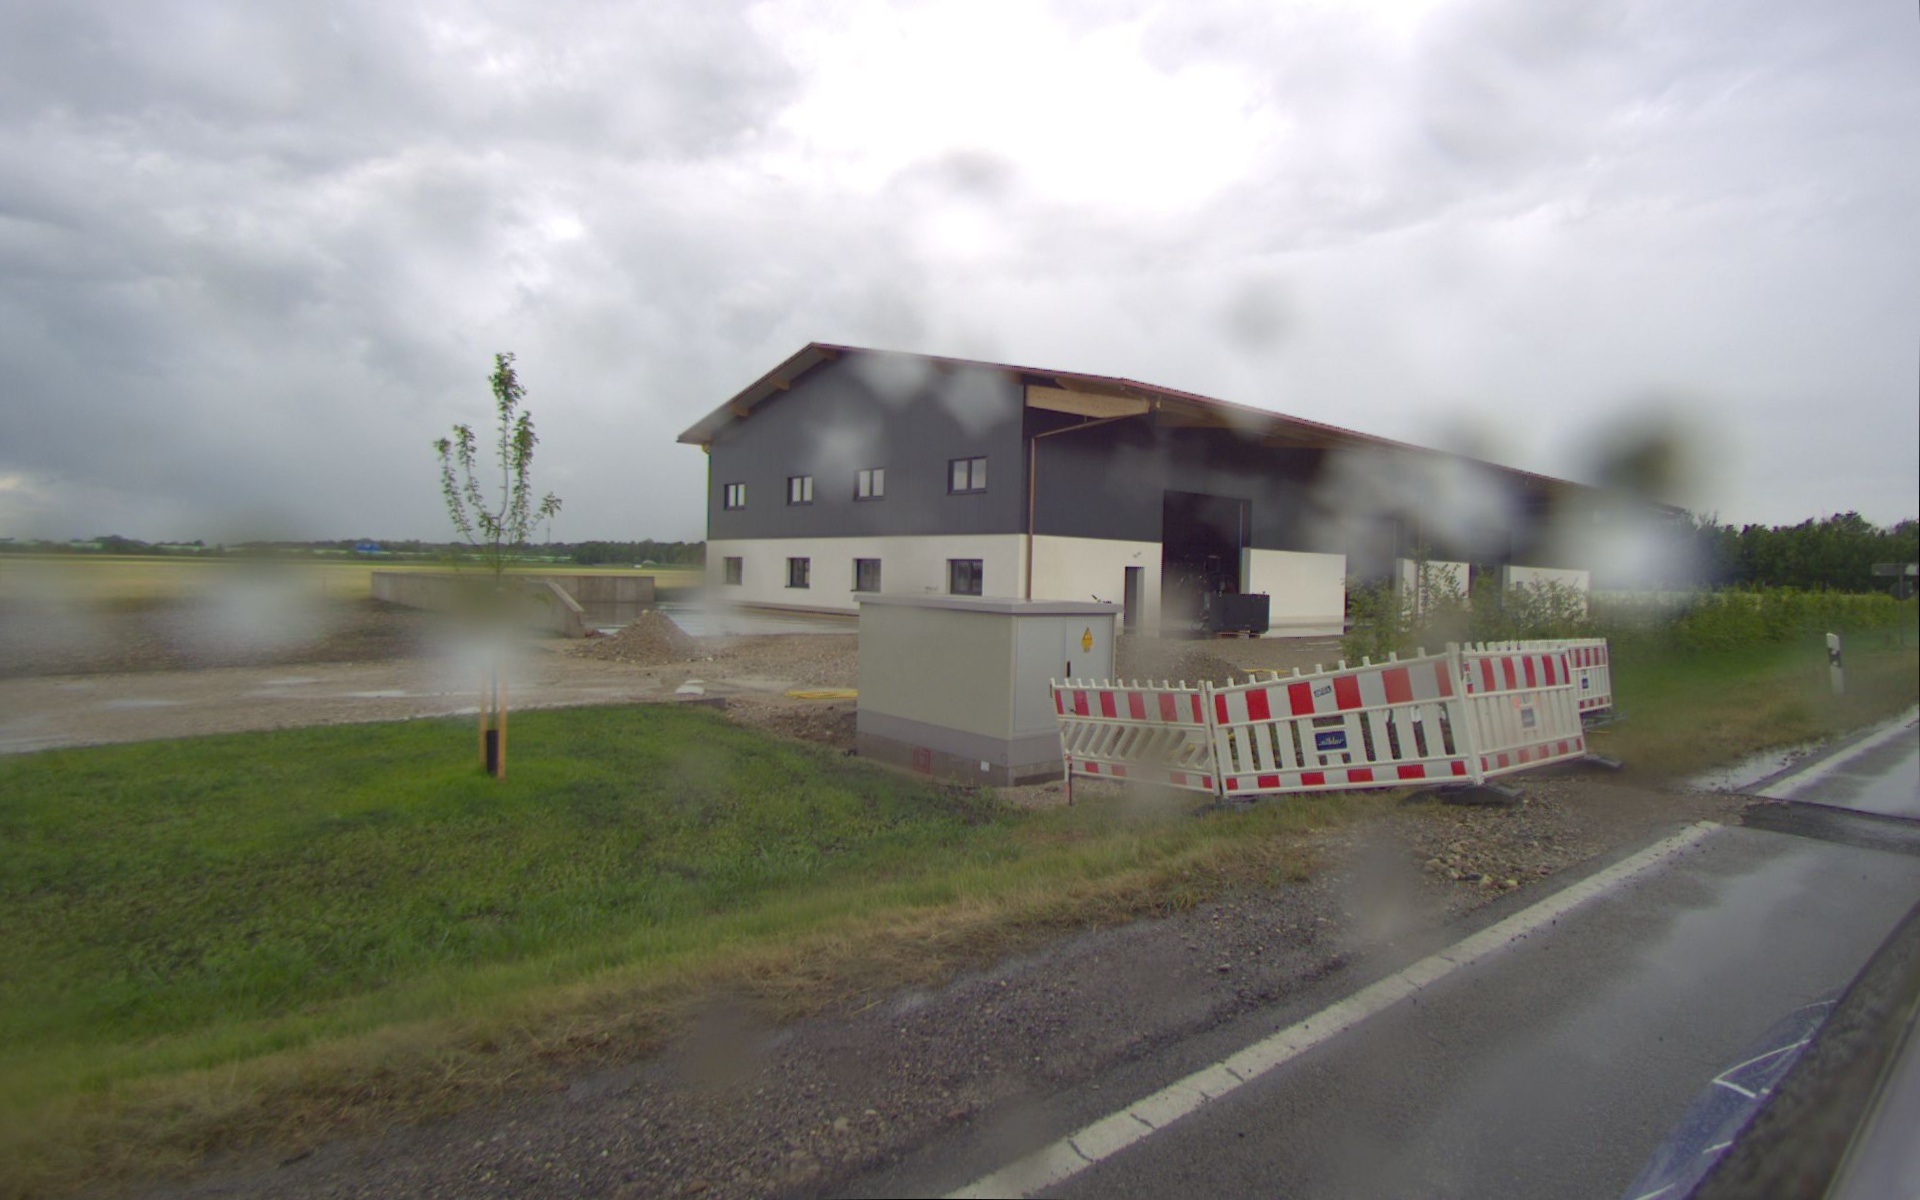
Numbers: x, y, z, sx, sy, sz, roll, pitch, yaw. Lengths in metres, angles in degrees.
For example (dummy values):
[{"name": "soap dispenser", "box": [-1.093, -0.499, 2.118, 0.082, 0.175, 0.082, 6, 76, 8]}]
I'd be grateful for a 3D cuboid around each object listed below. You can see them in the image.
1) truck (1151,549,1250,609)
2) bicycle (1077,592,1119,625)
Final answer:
[{"name": "truck", "box": [12.868, -1.110, 53.894, 5.250, 3.050, 2.495, 0, 2, -41]}, {"name": "bicycle", "box": [4.689, 0.264, 34.297, 1.631, 1.085, 0.391, 0, 2, -41]}]
